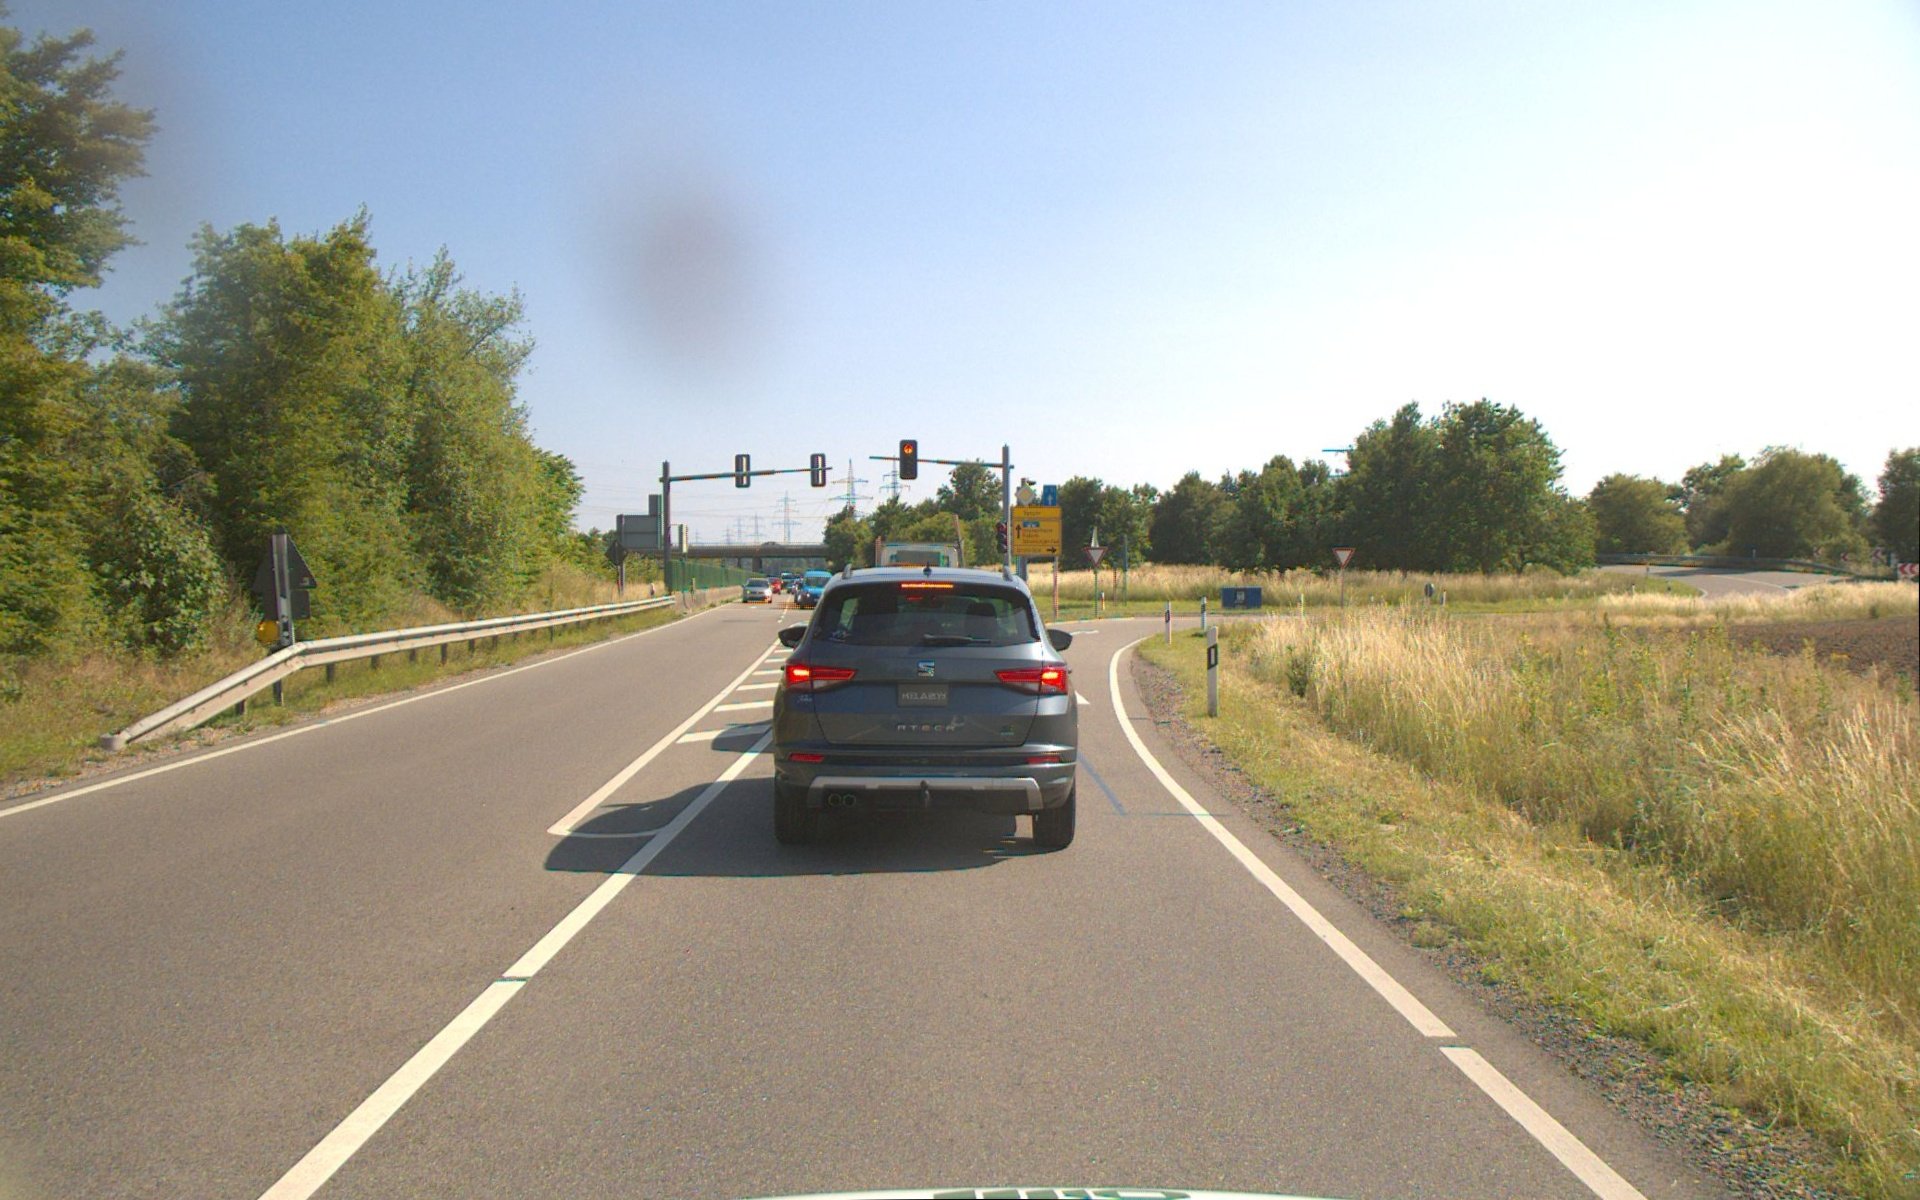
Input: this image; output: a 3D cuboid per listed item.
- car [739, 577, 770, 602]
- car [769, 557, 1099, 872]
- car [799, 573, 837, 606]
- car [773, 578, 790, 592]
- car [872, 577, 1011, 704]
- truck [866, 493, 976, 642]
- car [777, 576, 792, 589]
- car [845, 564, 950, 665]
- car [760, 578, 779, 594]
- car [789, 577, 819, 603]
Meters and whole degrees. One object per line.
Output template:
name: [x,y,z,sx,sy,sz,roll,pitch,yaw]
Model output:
car: [-12.380,-0.640,99.571,1.789,1.456,3.994,-1,1,-7]
car: [-0.237,0.568,10.815,1.750,1.657,3.998,0,1,-3]
car: [-7.005,-0.555,81.352,1.781,1.567,3.995,-1,1,-7]
car: [-18.648,-1.594,172.791,1.728,1.456,3.994,-1,1,-7]
car: [-0.339,0.484,22.999,1.750,1.570,3.998,0,1,-3]
truck: [-0.916,-0.696,37.575,2.290,3.119,5.807,0,0,-2]
car: [-26.820,-2.697,252.660,1.927,1.986,4.988,-1,1,-8]
car: [-1.162,0.204,29.934,1.750,1.705,3.998,0,1,-3]
car: [-17.816,-1.360,154.972,1.728,1.456,3.994,-1,1,-7]
car: [-8.842,-0.561,93.666,1.652,1.404,3.529,0,1,-6]
